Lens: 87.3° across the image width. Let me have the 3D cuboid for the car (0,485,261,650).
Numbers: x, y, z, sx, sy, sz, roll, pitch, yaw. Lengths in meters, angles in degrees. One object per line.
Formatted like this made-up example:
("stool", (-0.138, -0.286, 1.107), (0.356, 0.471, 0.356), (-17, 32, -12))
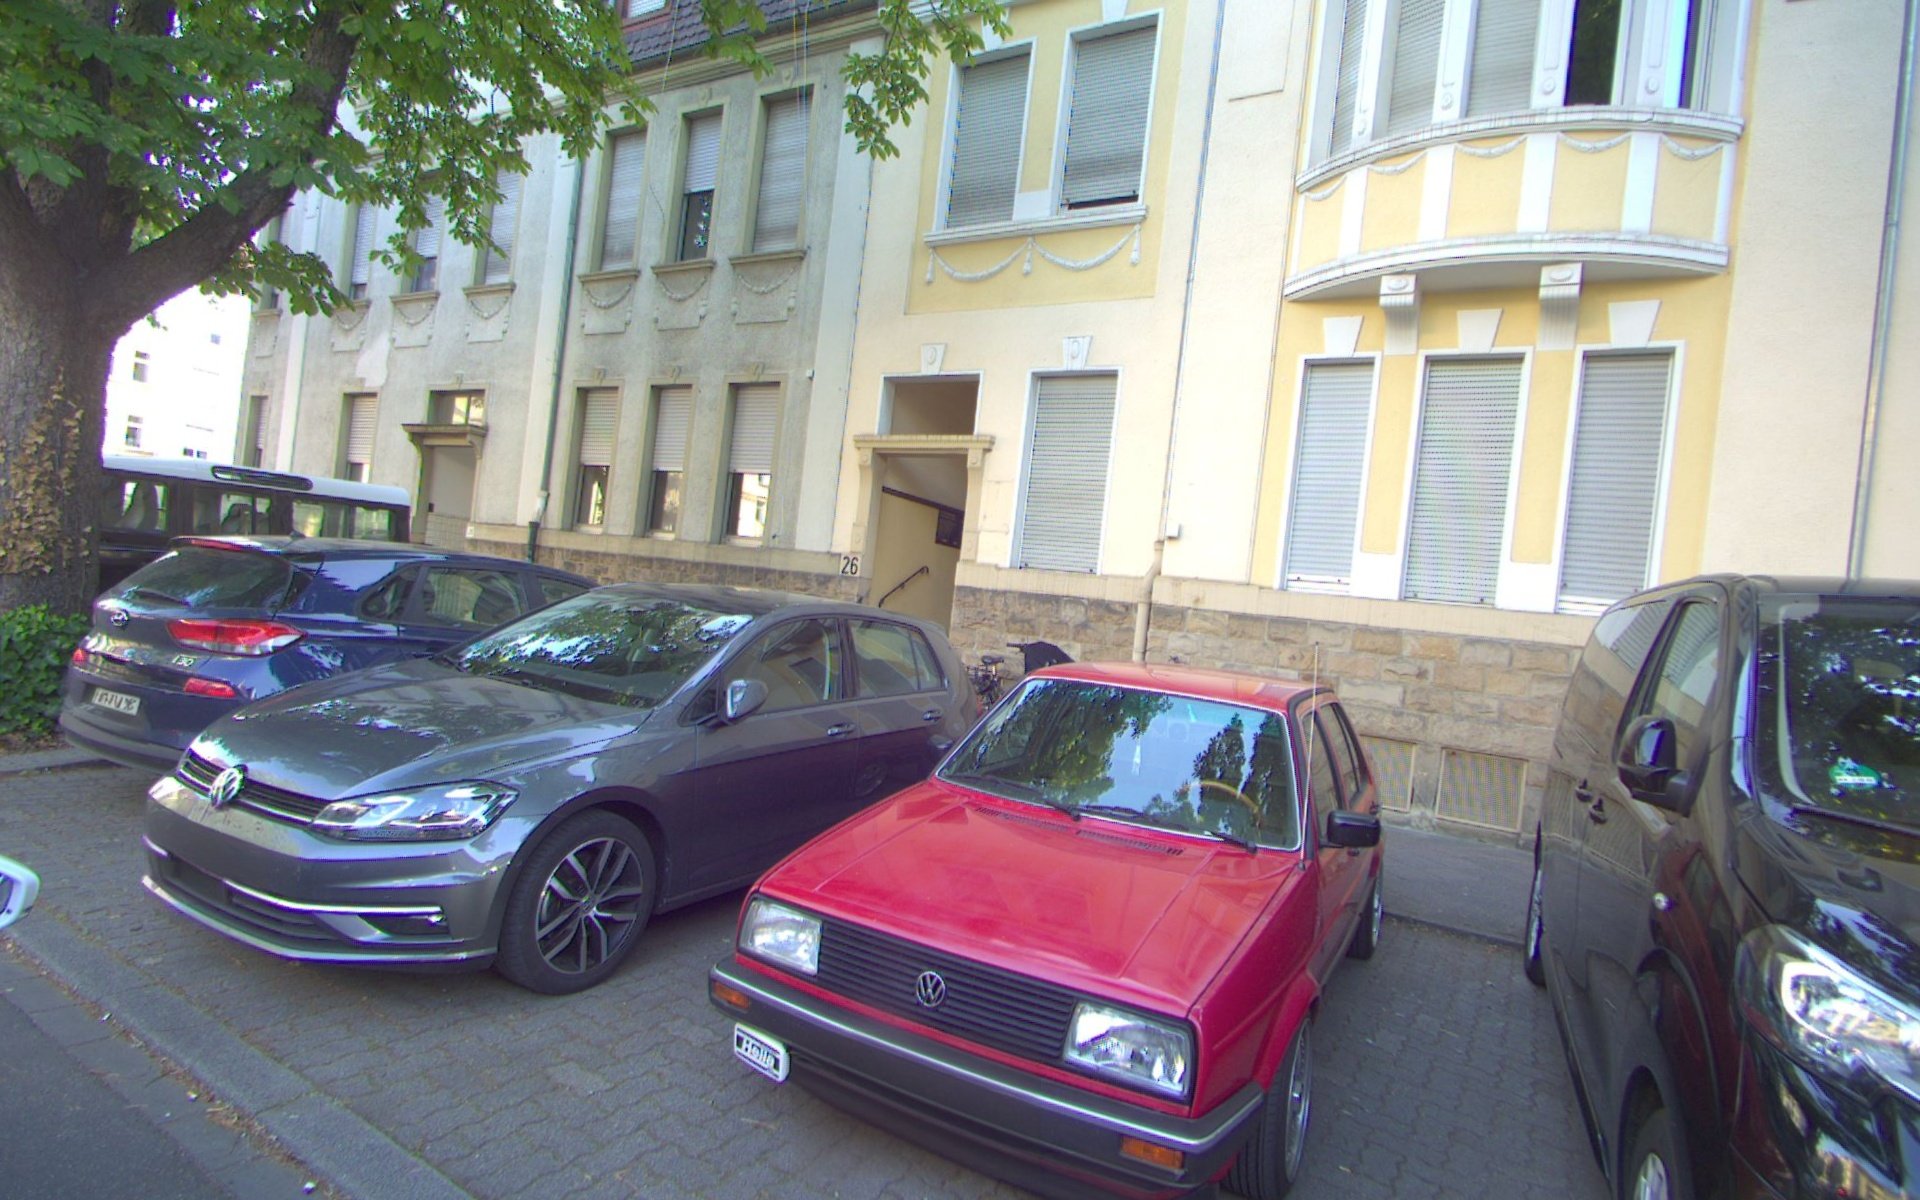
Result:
("car", (-9.947, -0.381, 10.852), (1.680, 1.606, 3.488), (7, 0, 25))

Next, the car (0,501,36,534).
("car", (-36.242, -3.222, 36.749), (1.357, 1.081, 3.370), (7, -1, 30))

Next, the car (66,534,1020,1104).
("car", (-1.353, 0.655, 4.834), (1.600, 1.440, 4.054), (6, 0, 29))

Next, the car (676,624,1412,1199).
("car", (0.838, 0.892, 4.228), (1.532, 1.337, 3.916), (6, 0, 29))

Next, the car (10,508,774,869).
("car", (-3.031, 0.423, 6.199), (1.600, 1.440, 3.754), (6, 0, 29))

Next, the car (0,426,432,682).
("car", (-7.620, -0.377, 9.316), (1.762, 1.981, 4.496), (7, 1, 29))

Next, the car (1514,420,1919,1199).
("car", (2.879, 0.894, 2.949), (1.848, 1.847, 4.829), (6, 0, 27))

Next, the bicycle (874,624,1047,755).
("bicycle", (-0.020, 0.888, 10.381), (1.675, 1.090, 0.500), (7, 2, 32))
